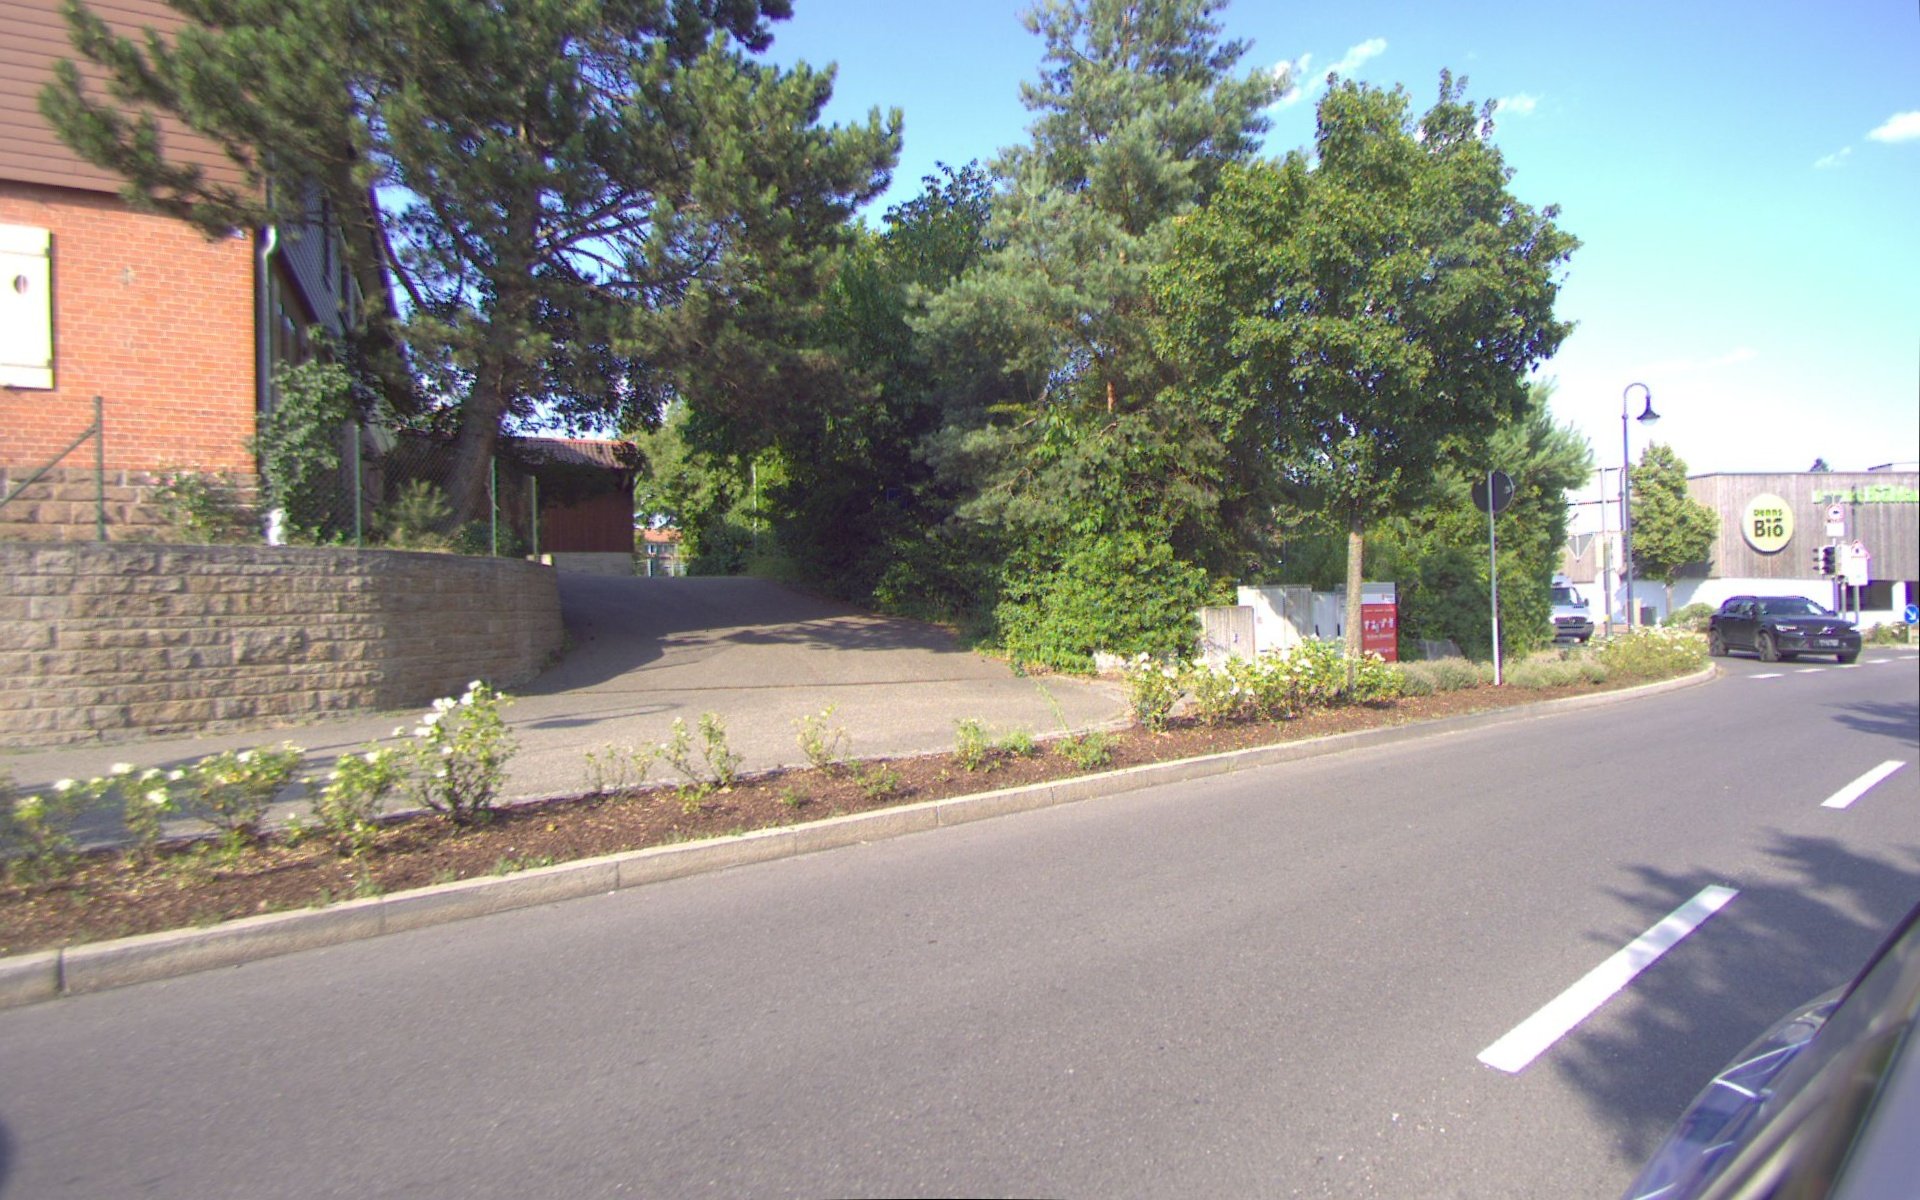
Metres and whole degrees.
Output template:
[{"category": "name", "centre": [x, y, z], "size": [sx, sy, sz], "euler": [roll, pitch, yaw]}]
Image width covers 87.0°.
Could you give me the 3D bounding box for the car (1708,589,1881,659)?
[{"category": "car", "centre": [20.737, 0.546, 25.382], "size": [1.767, 1.587, 4.249], "euler": [0, 0, 16]}]

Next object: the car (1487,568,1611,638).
[{"category": "car", "centre": [23.134, 0.093, 40.080], "size": [2.157, 2.553, 5.847], "euler": [0, 0, 8]}]
